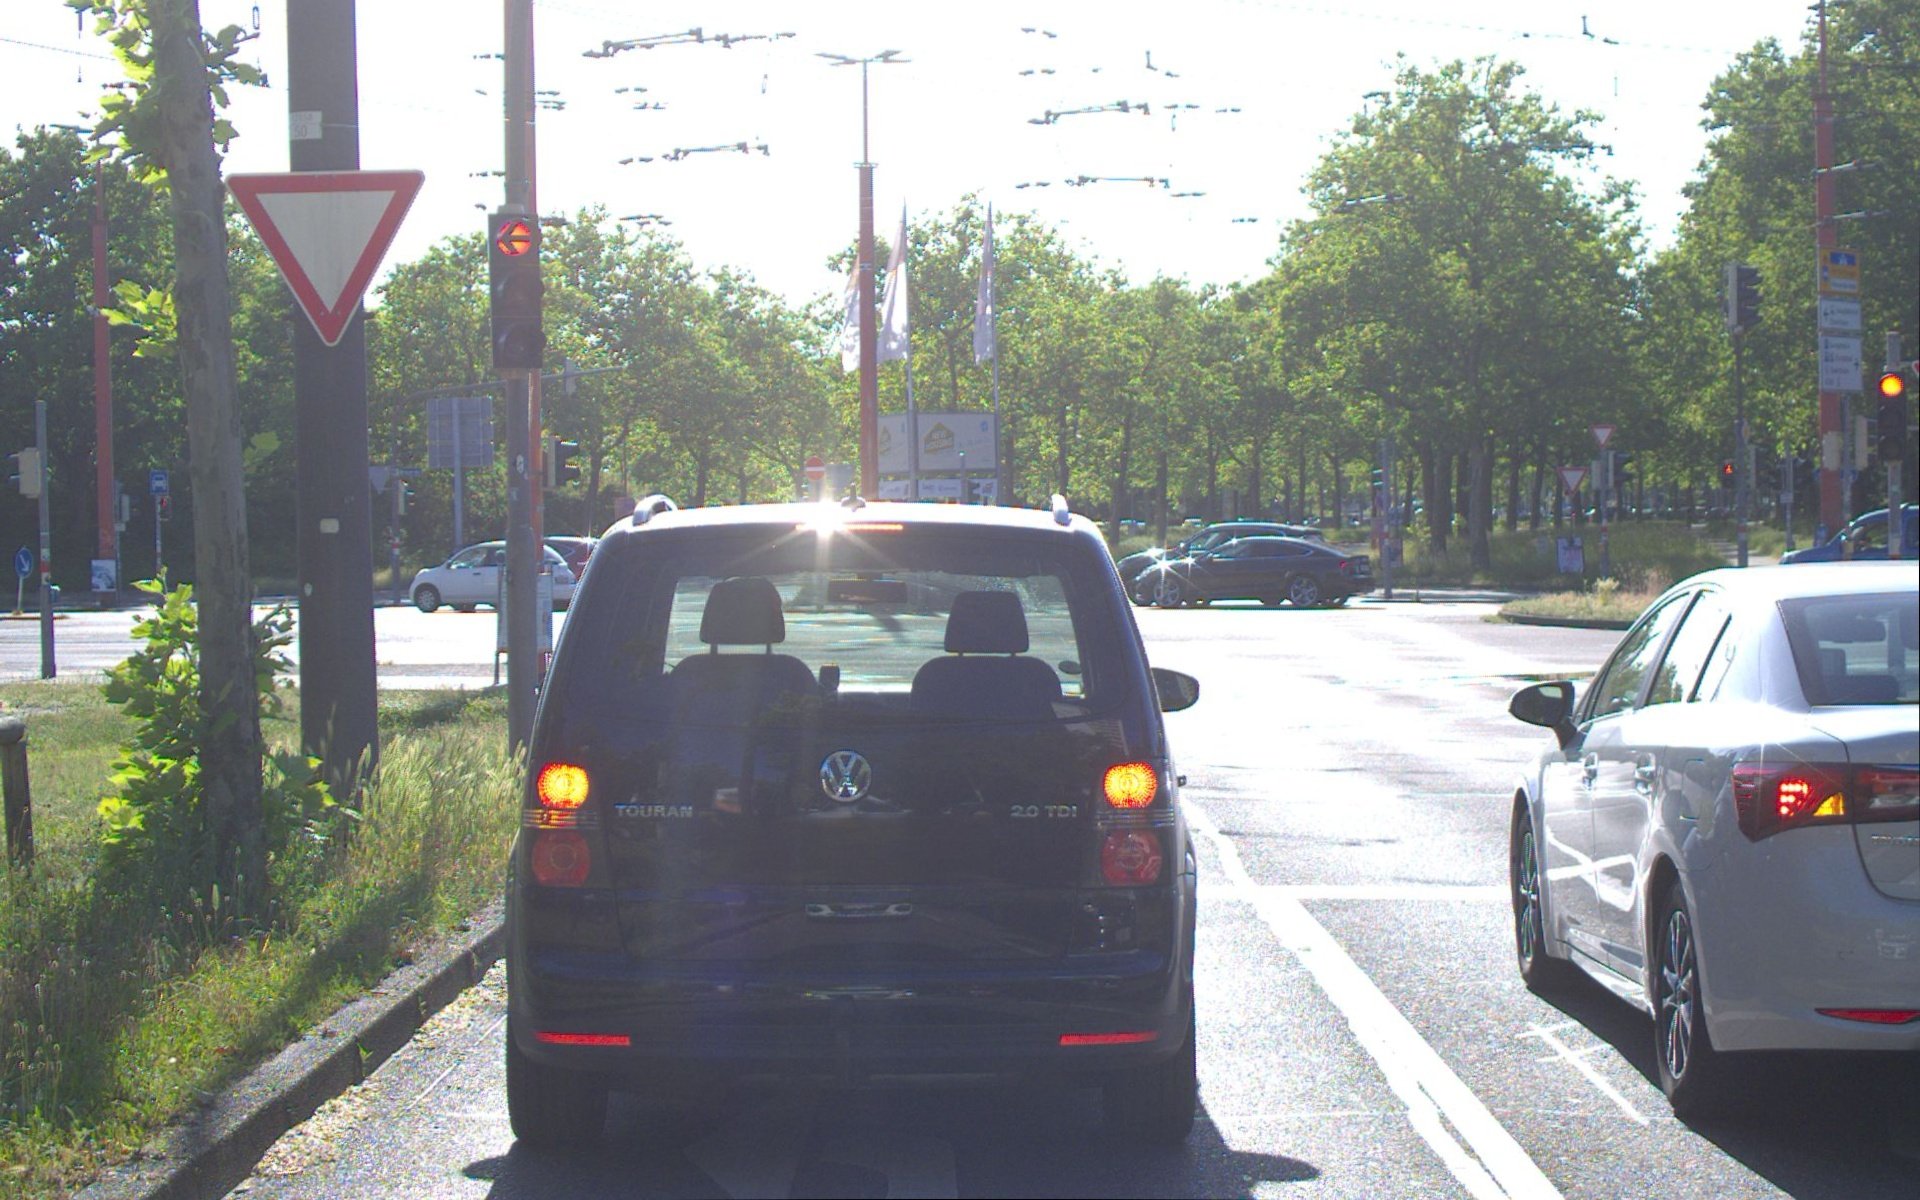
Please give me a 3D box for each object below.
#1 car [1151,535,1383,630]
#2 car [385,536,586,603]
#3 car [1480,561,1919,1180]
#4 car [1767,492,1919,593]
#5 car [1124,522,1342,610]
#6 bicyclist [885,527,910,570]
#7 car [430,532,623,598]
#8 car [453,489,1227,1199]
[{"bbox_3d":[5.974,-0.369,66.972,4.124,1.784,1.796,1,1,25],"label":"car"},{"bbox_3d":[-10.290,-0.681,74.552,4.125,1.398,1.654,1,1,27],"label":"car"},{"bbox_3d":[2.756,0.618,10.152,1.799,1.435,4.326,1,1,1],"label":"car"},{"bbox_3d":[16.792,-1.041,61.820,4.124,1.784,1.796,1,1,26],"label":"car"},{"bbox_3d":[5.664,-0.723,71.373,4.124,1.784,1.796,1,1,26],"label":"car"},{"bbox_3d":[-2.724,-2.253,150.562,0.976,1.897,1.050,0,1,6],"label":"bicyclist"},{"bbox_3d":[-9.884,-0.811,78.275,4.124,1.466,1.654,1,1,26],"label":"car"},{"bbox_3d":[-0.254,0.537,9.974,1.738,1.597,4.326,1,1,1],"label":"car"}]
